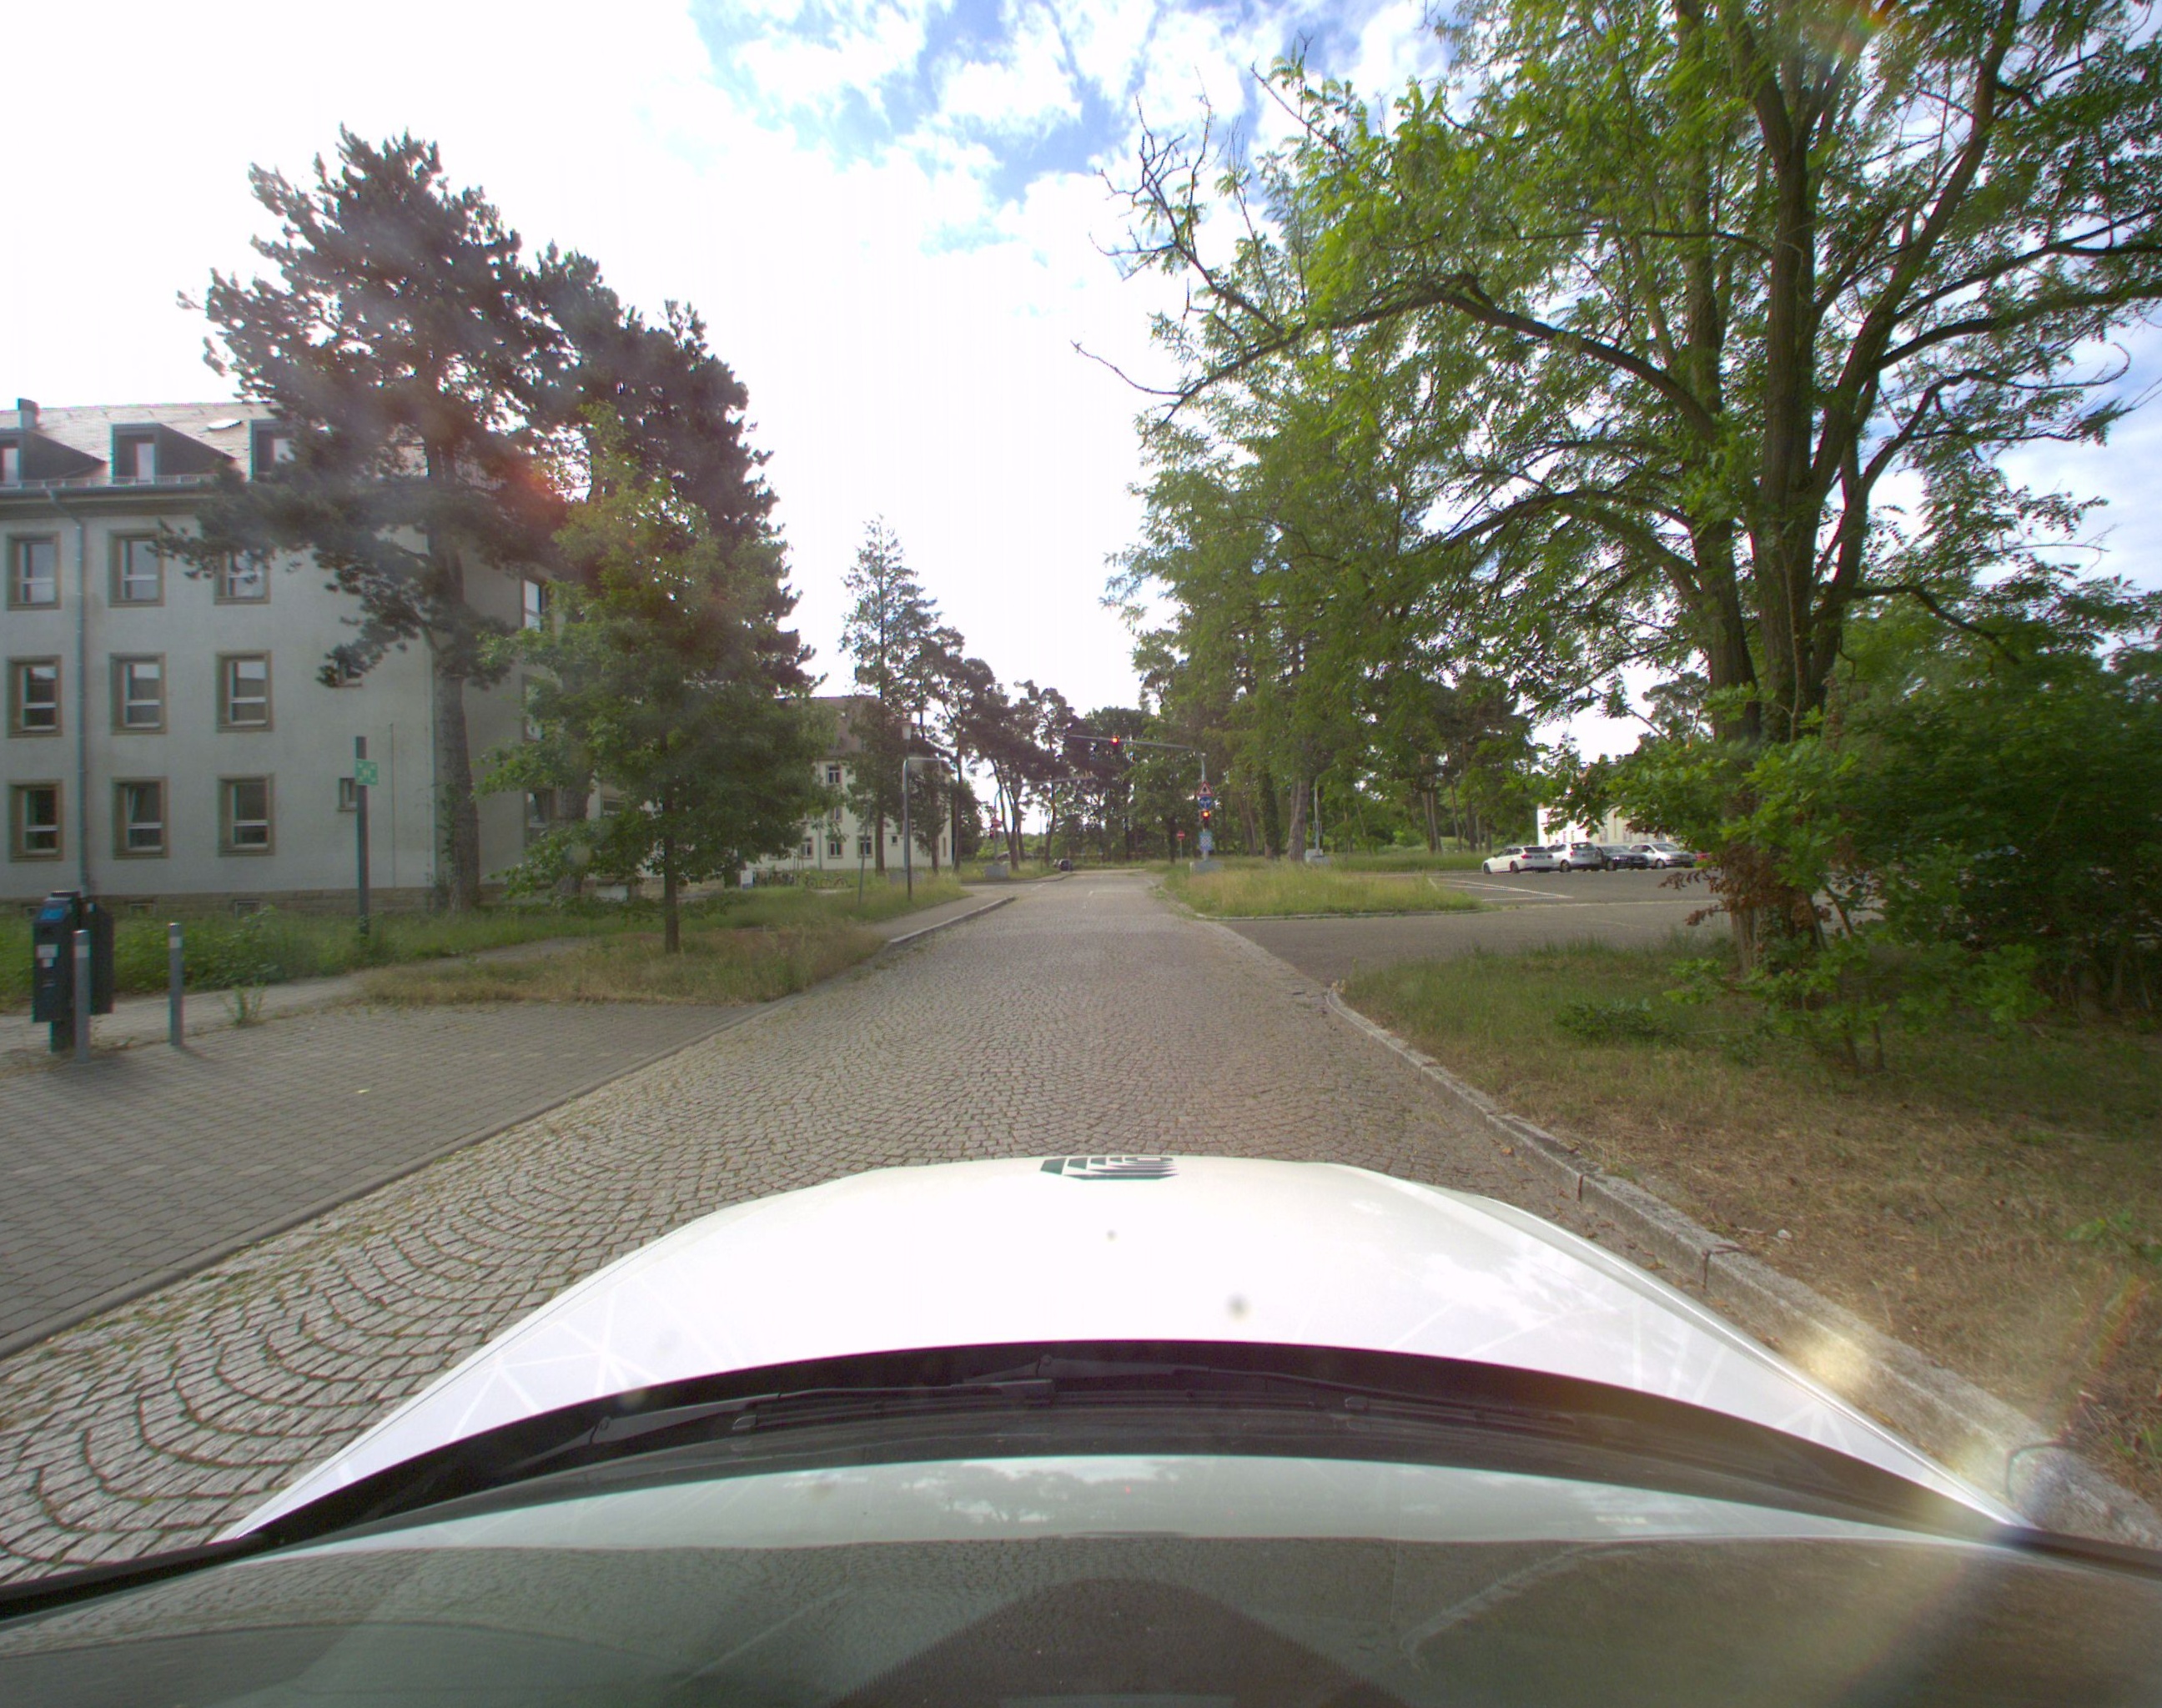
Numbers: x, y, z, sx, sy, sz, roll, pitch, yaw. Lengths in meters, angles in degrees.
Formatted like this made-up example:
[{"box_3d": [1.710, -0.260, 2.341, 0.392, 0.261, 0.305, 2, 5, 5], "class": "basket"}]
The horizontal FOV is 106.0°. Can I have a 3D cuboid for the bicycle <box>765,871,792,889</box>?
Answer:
[{"box_3d": [-18.883, 1.603, 50.819, 0.733, 1.076, 2.274, -2, 0, 2], "class": "bicycle"}]

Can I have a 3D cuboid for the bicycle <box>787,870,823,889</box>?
[{"box_3d": [-16.801, 1.524, 49.599, 1.848, 1.076, 0.739, -2, -1, 3], "class": "bicycle"}]

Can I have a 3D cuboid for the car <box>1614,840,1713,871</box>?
[{"box_3d": [30.823, 0.119, 43.264, 1.988, 1.523, 4.422, 0, -2, -2], "class": "car"}]

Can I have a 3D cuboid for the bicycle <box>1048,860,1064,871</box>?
[{"box_3d": [-3.082, 1.364, 99.828, 1.961, 1.320, 0.519, 0, -1, 3], "class": "bicycle"}]

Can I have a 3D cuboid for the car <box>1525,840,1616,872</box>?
[{"box_3d": [25.476, 0.148, 42.620, 1.988, 1.481, 4.422, -2, -2, -2], "class": "car"}]

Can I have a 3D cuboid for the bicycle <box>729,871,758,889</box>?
[{"box_3d": [-21.070, 1.620, 50.842, 0.733, 1.076, 2.274, -2, 0, 2], "class": "bicycle"}]

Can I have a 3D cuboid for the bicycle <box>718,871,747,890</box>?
[{"box_3d": [-21.798, 1.637, 50.932, 0.733, 1.076, 2.274, -2, 0, 2], "class": "bicycle"}]

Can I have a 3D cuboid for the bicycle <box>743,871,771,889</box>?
[{"box_3d": [-20.409, 1.631, 51.320, 0.733, 1.076, 2.274, -2, 0, 2], "class": "bicycle"}]

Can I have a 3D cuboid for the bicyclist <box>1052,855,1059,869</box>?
[{"box_3d": [-3.145, 1.015, 99.834, 0.745, 1.671, 0.526, 0, -1, 3], "class": "bicyclist"}]

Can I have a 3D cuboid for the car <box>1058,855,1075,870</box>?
[{"box_3d": [-1.912, 1.110, 106.661, 2.048, 1.846, 4.001, -2, 0, 1], "class": "car"}]

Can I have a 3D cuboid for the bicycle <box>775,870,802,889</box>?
[{"box_3d": [-18.241, 1.580, 50.884, 0.733, 1.076, 2.274, -2, 0, 2], "class": "bicycle"}]

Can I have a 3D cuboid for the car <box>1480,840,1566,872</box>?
[{"box_3d": [22.961, 0.155, 42.500, 1.988, 1.481, 4.422, -2, -2, -2], "class": "car"}]

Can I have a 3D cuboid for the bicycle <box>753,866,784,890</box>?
[{"box_3d": [-19.617, 1.477, 51.193, 0.733, 1.385, 2.713, -2, 0, 2], "class": "bicycle"}]

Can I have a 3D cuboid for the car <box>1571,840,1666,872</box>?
[{"box_3d": [28.146, 0.143, 42.850, 1.988, 1.481, 4.422, -2, -2, -2], "class": "car"}]

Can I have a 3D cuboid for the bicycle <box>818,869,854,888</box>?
[{"box_3d": [-14.918, 1.483, 49.593, 1.848, 1.076, 0.832, -2, 0, 3], "class": "bicycle"}]
